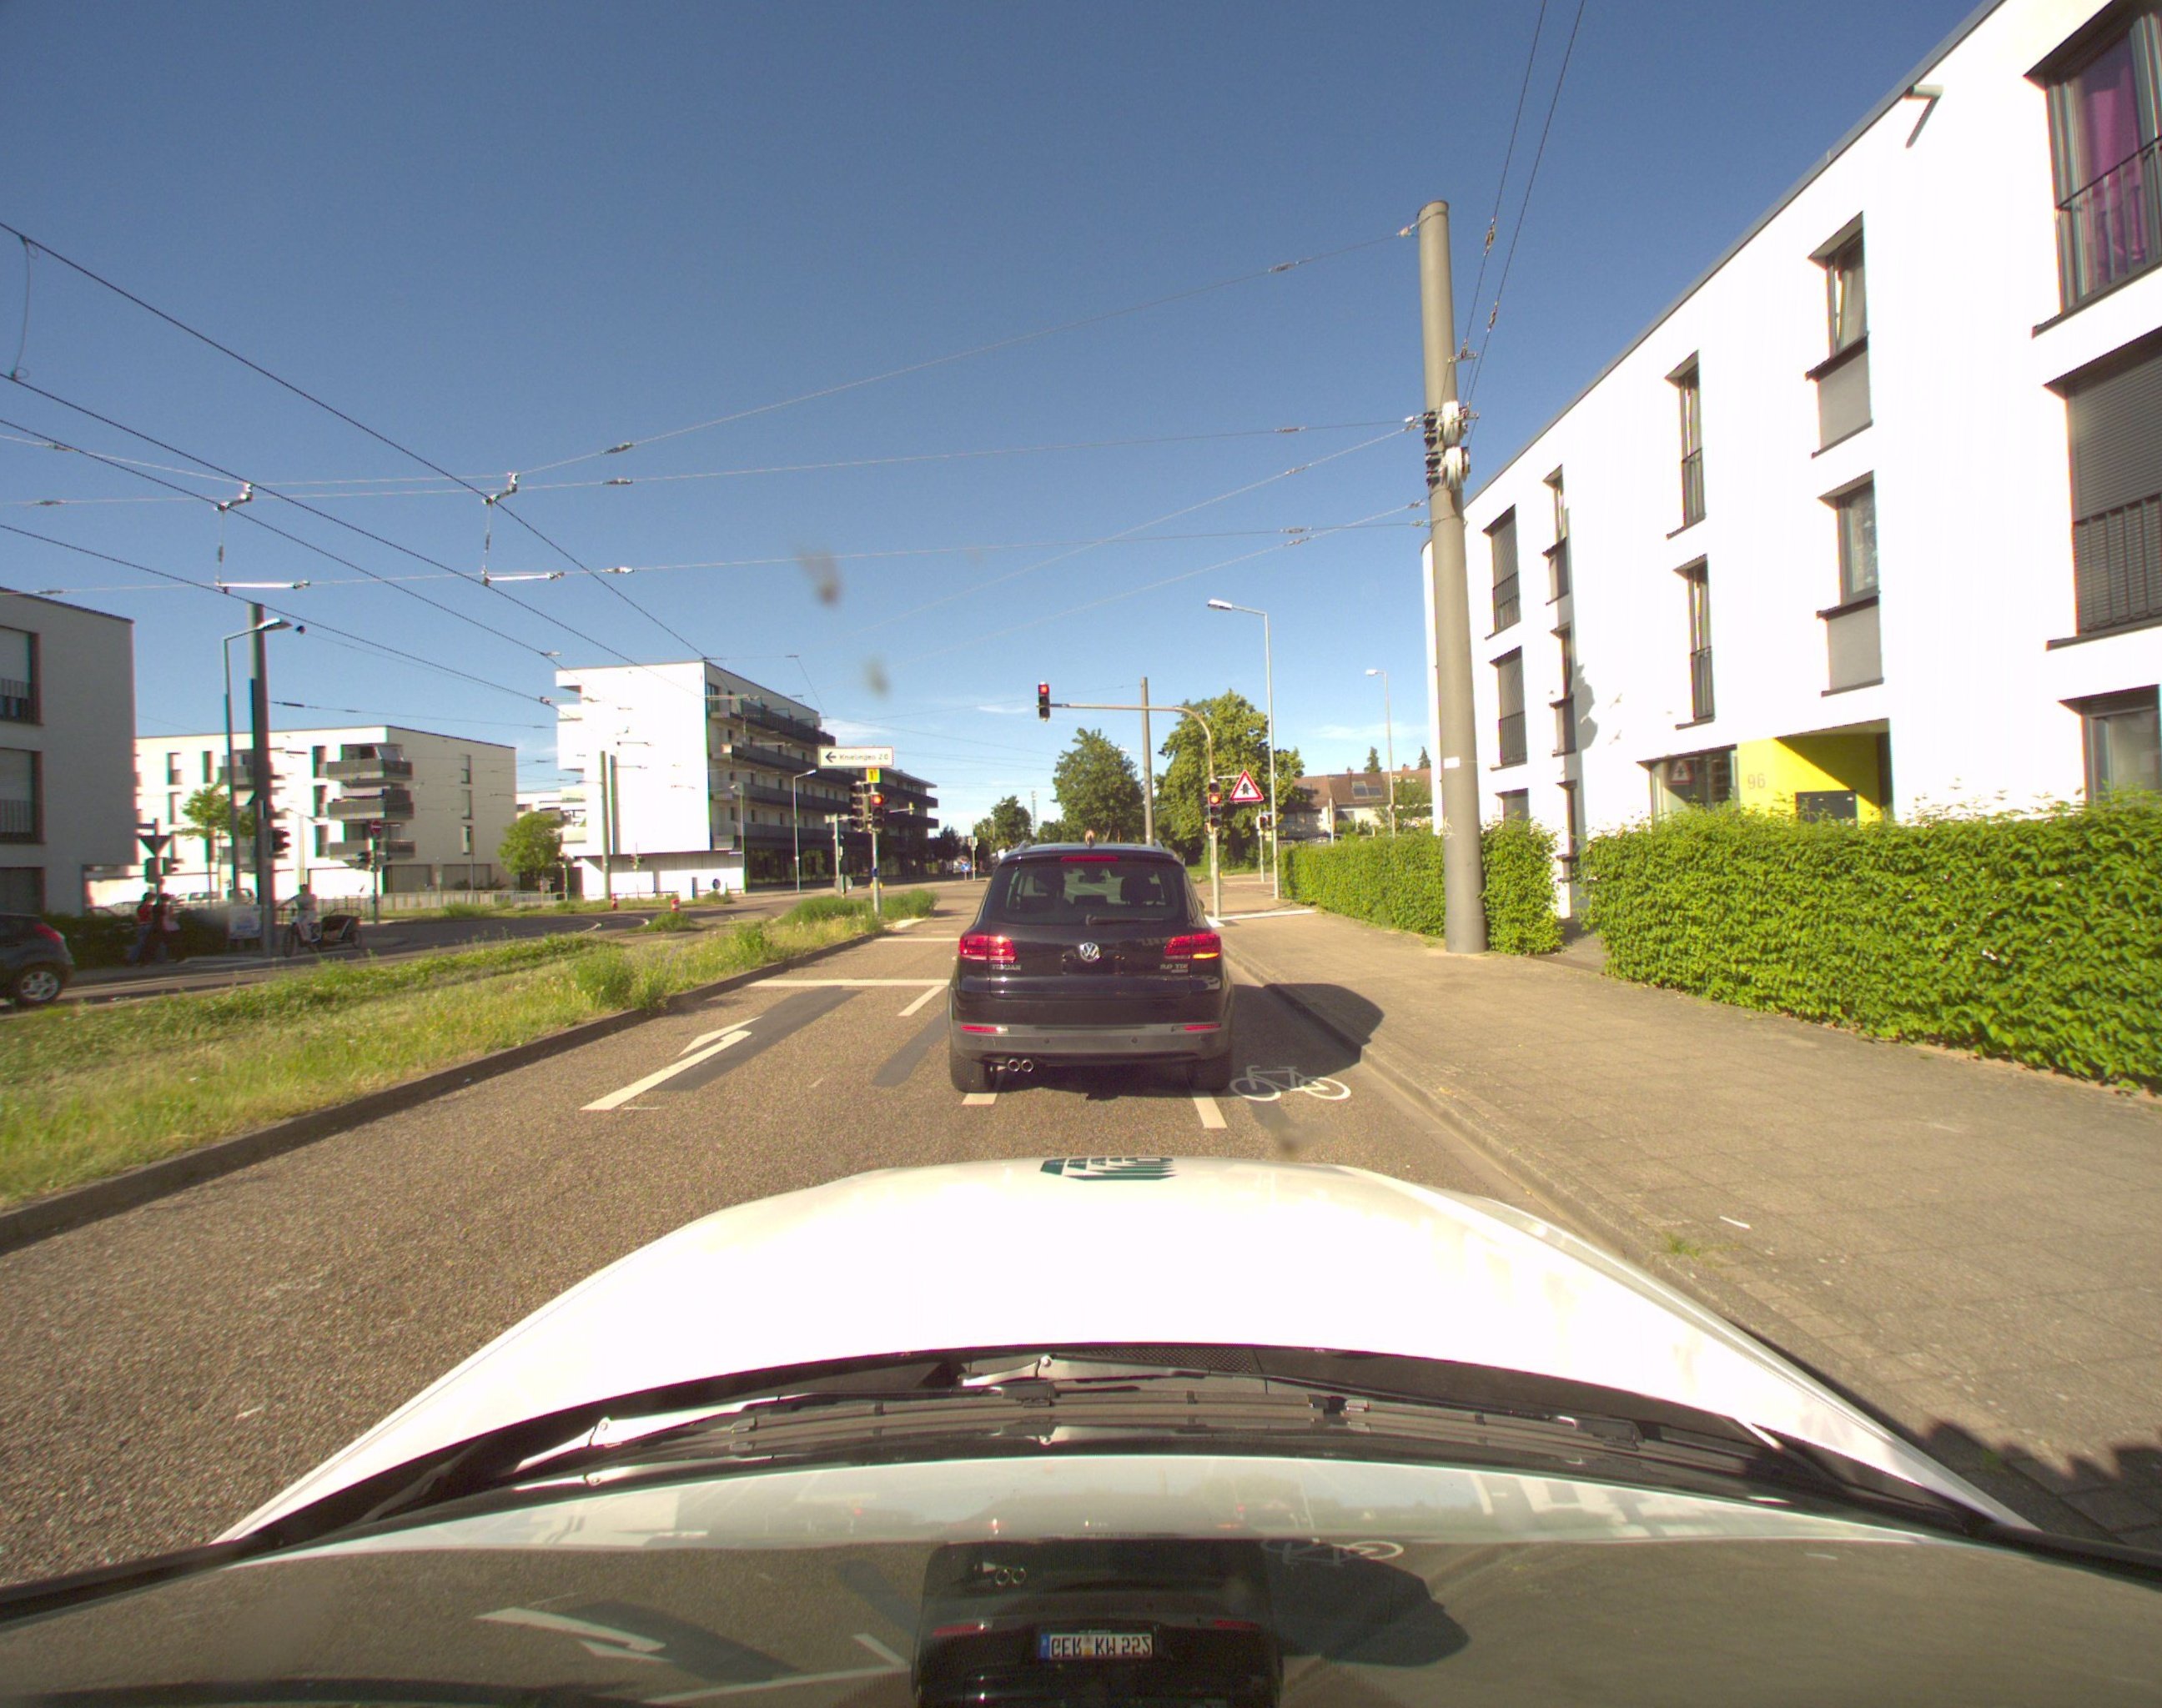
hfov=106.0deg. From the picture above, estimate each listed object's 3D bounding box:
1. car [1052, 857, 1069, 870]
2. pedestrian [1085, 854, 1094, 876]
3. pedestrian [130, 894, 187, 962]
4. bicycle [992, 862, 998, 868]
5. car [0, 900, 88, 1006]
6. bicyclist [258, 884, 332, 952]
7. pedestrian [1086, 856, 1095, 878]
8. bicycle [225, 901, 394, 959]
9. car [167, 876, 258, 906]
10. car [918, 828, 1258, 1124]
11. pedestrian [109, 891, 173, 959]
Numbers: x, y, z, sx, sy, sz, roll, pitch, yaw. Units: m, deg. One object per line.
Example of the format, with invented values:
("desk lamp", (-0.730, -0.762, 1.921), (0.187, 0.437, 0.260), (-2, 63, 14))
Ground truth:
("car", (-2.214, 0.999, 89.260), (1.745, 1.387, 4.000), (-1, 0, 0))
("pedestrian", (0.613, 0.793, 59.223), (0.600, 1.565, 0.530), (-1, 0, 6))
("pedestrian", (-20.724, 1.643, 18.302), (0.555, 1.464, 0.611), (-1, 0, -1))
("bicycle", (-11.791, 1.511, 111.784), (0.493, 0.848, 2.082), (-1, 0, 6))
("car", (-16.041, 1.479, 10.533), (1.697, 1.430, 3.740), (-4, 0, 0))
("bicyclist", (-19.842, 1.607, 20.579), (0.971, 1.630, 0.911), (-1, 0, -4))
("pedestrian", (0.694, 0.941, 59.796), (0.600, 1.640, 0.530), (-1, 0, 6))
("bicycle", (-19.858, 1.907, 21.161), (0.994, 1.174, 3.690), (1, 0, -3))
("car", (-58.718, 2.496, 55.131), (3.974, 1.838, 2.000), (-1, 0, 0))
("car", (0.062, 0.694, 6.618), (1.899, 1.643, 4.000), (-1, 0, 0))
("pedestrian", (-21.262, 1.585, 18.429), (0.554, 1.464, 0.743), (-1, 0, 3))
